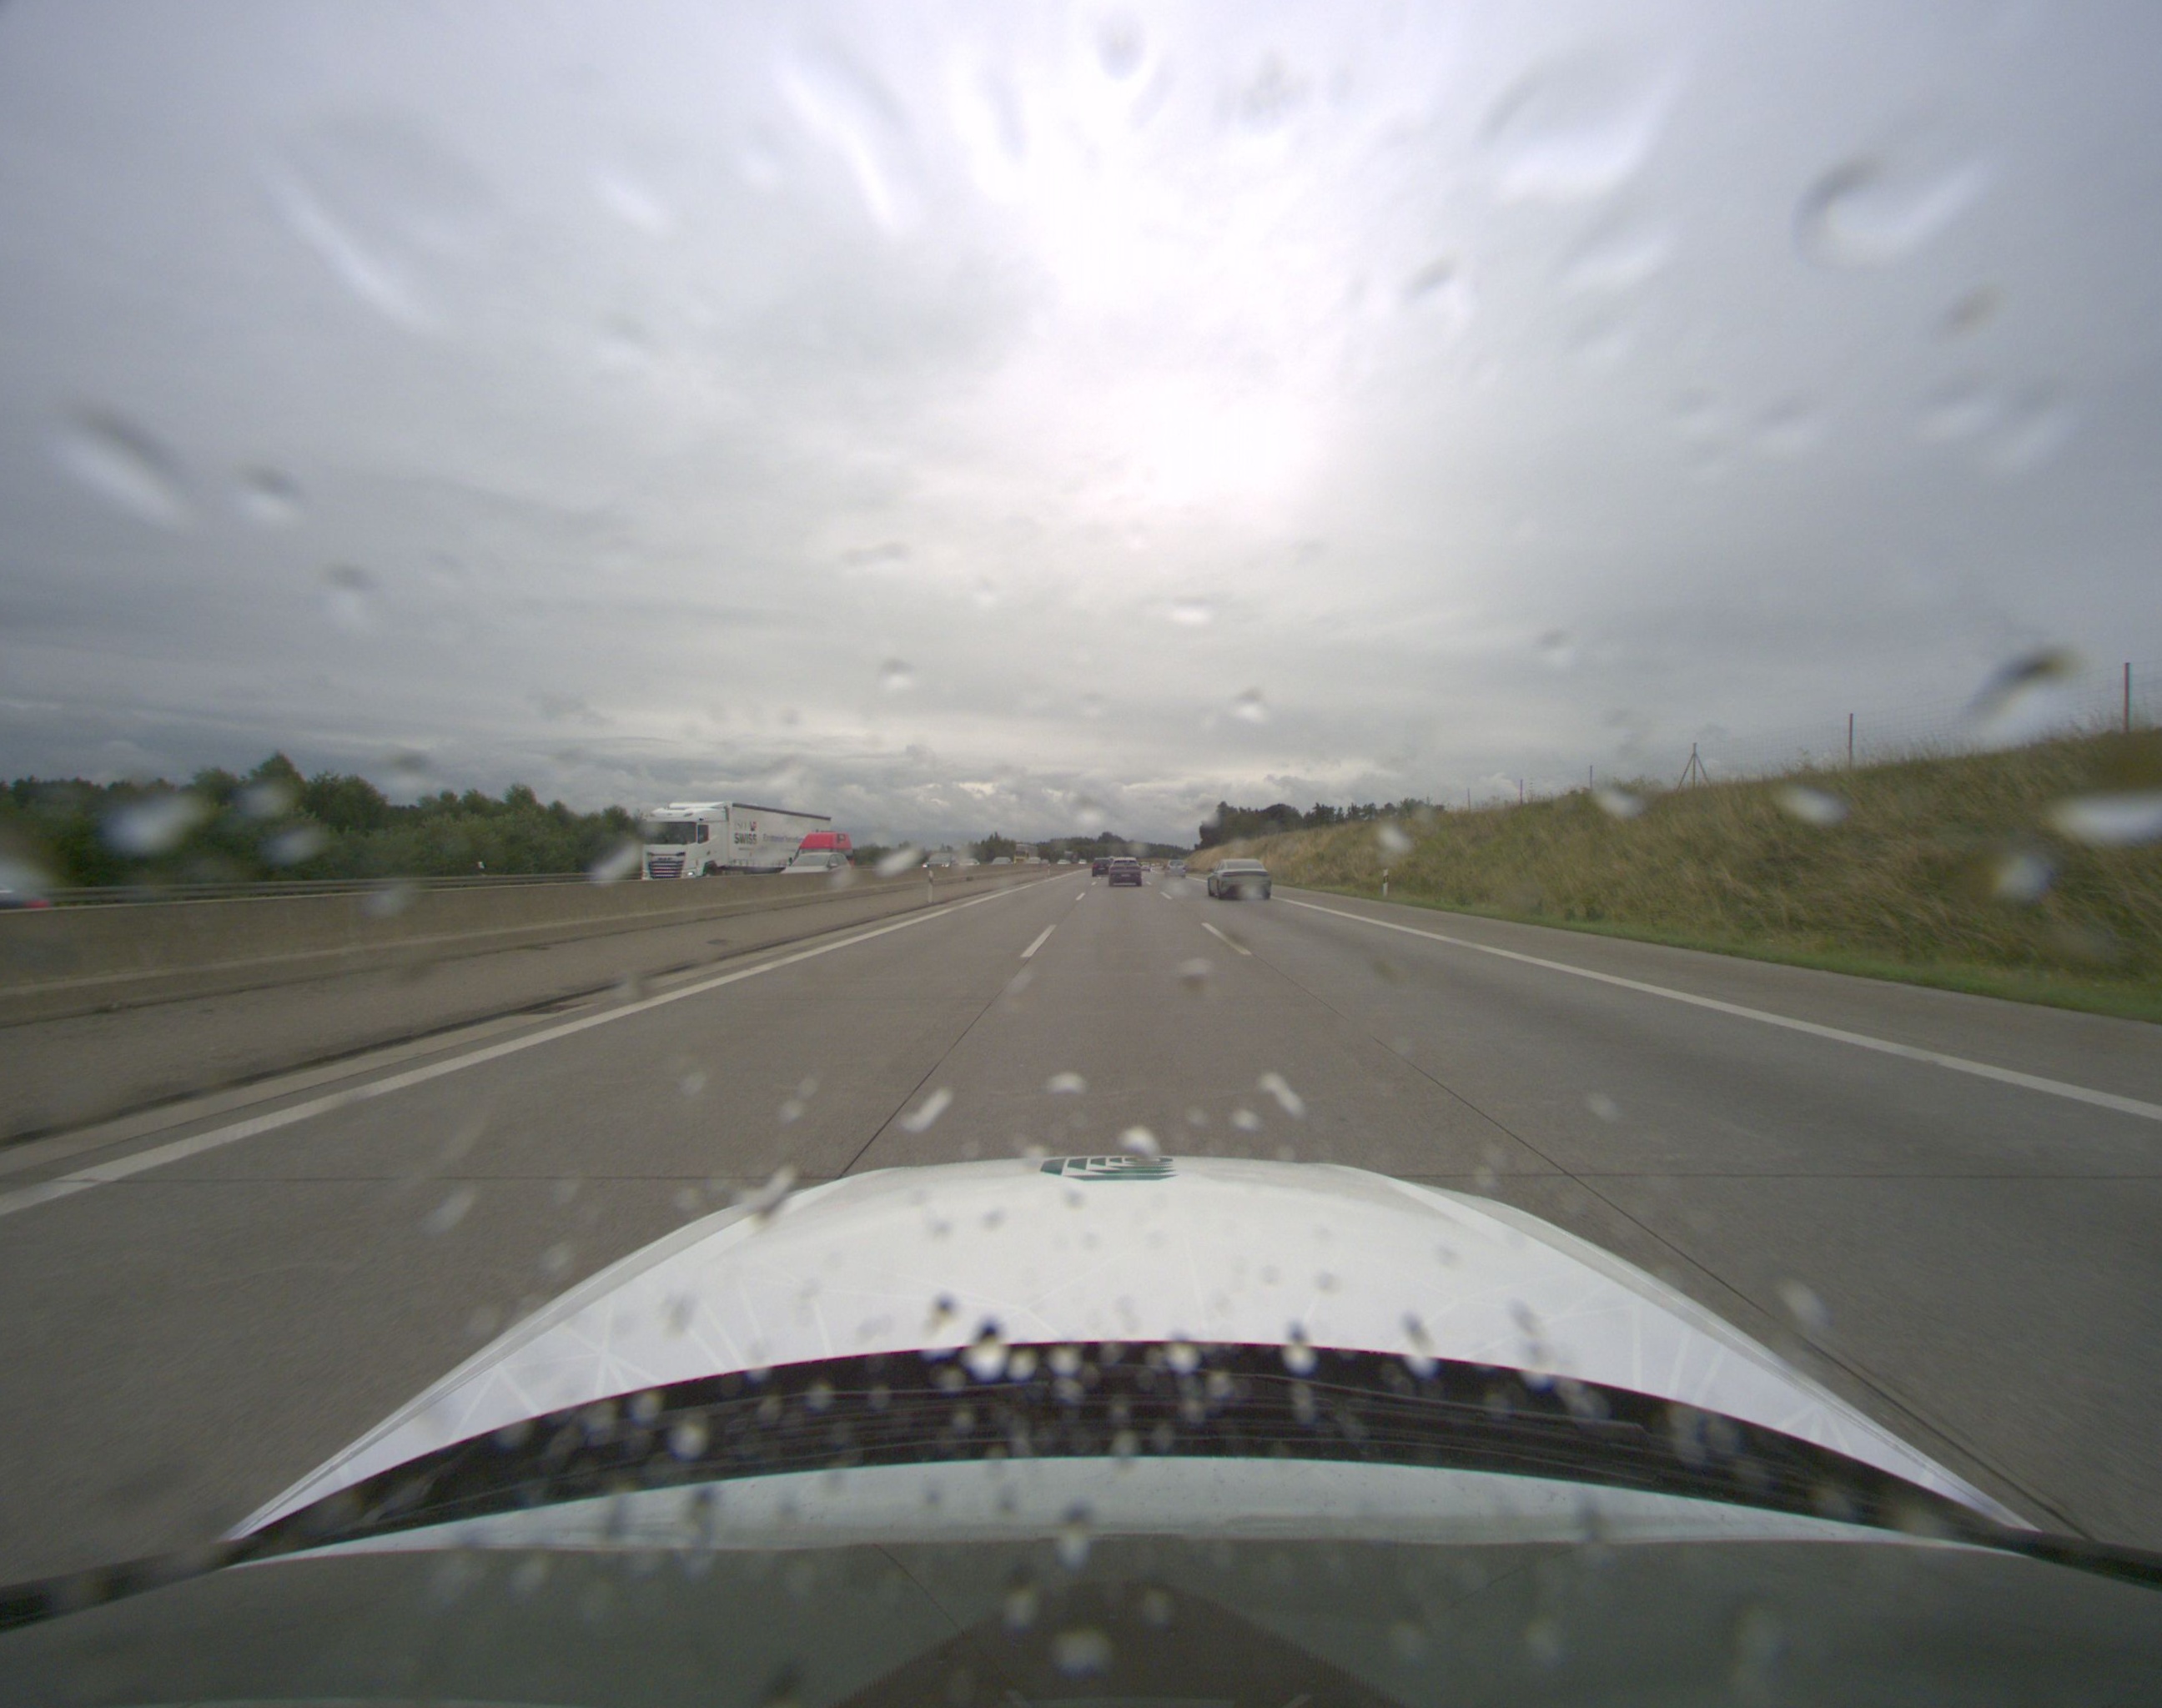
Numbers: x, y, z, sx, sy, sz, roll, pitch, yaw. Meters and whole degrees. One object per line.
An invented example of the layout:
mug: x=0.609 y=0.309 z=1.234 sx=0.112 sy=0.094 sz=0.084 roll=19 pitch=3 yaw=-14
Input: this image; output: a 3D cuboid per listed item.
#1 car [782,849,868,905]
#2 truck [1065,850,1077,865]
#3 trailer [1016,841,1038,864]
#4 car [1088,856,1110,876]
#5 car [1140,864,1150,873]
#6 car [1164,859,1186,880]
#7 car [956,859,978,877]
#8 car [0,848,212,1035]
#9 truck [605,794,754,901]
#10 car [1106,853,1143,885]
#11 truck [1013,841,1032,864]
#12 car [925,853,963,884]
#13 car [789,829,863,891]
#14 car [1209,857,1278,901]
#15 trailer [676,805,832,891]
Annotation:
car: x=-10.146 y=0.843 z=32.651 sx=1.795 sy=2.013 sz=4.728 roll=-1 pitch=0 yaw=1
truck: x=-2.961 y=0.941 z=245.660 sx=2.777 sy=4.262 sz=6.056 roll=3 pitch=1 yaw=4
trailer: x=-10.588 y=-0.364 z=160.139 sx=2.906 sy=4.217 sz=11.883 roll=-1 pitch=0 yaw=3
car: x=1.664 y=1.072 z=74.500 sx=1.777 sy=1.747 sz=3.920 roll=-1 pitch=0 yaw=5
car: x=10.520 y=2.370 z=134.480 sx=1.479 sy=1.470 sz=3.507 roll=2 pitch=1 yaw=3
car: x=7.354 y=1.173 z=63.903 sx=1.479 sy=1.470 sz=3.507 roll=2 pitch=1 yaw=3
car: x=-11.487 y=1.395 z=82.327 sx=1.490 sy=1.748 sz=4.580 roll=-1 pitch=0 yaw=1
car: x=-11.100 y=0.840 z=7.306 sx=1.737 sy=1.766 sz=4.431 roll=-1 pitch=0 yaw=2
truck: x=-17.728 y=-0.300 z=36.602 sx=2.872 sy=4.290 sz=7.140 roll=-1 pitch=0 yaw=2
car: x=2.427 y=0.804 z=46.508 sx=1.891 sy=1.690 sz=5.267 roll=-1 pitch=0 yaw=1
truck: x=-10.995 y=-0.266 z=152.602 sx=2.920 sy=4.180 sz=5.860 roll=-1 pitch=0 yaw=2
car: x=-9.423 y=0.983 z=56.429 sx=1.682 sy=2.013 sz=4.838 roll=-1 pitch=0 yaw=1
car: x=-13.161 y=0.284 z=42.355 sx=1.794 sy=2.958 sz=5.583 roll=-1 pitch=0 yaw=3
car: x=5.948 y=0.867 z=30.352 sx=2.005 sy=1.445 sz=4.751 roll=-1 pitch=0 yaw=5
trailer: x=-17.422 y=-0.345 z=44.923 sx=2.877 sy=4.002 sz=13.021 roll=-1 pitch=0 yaw=2
